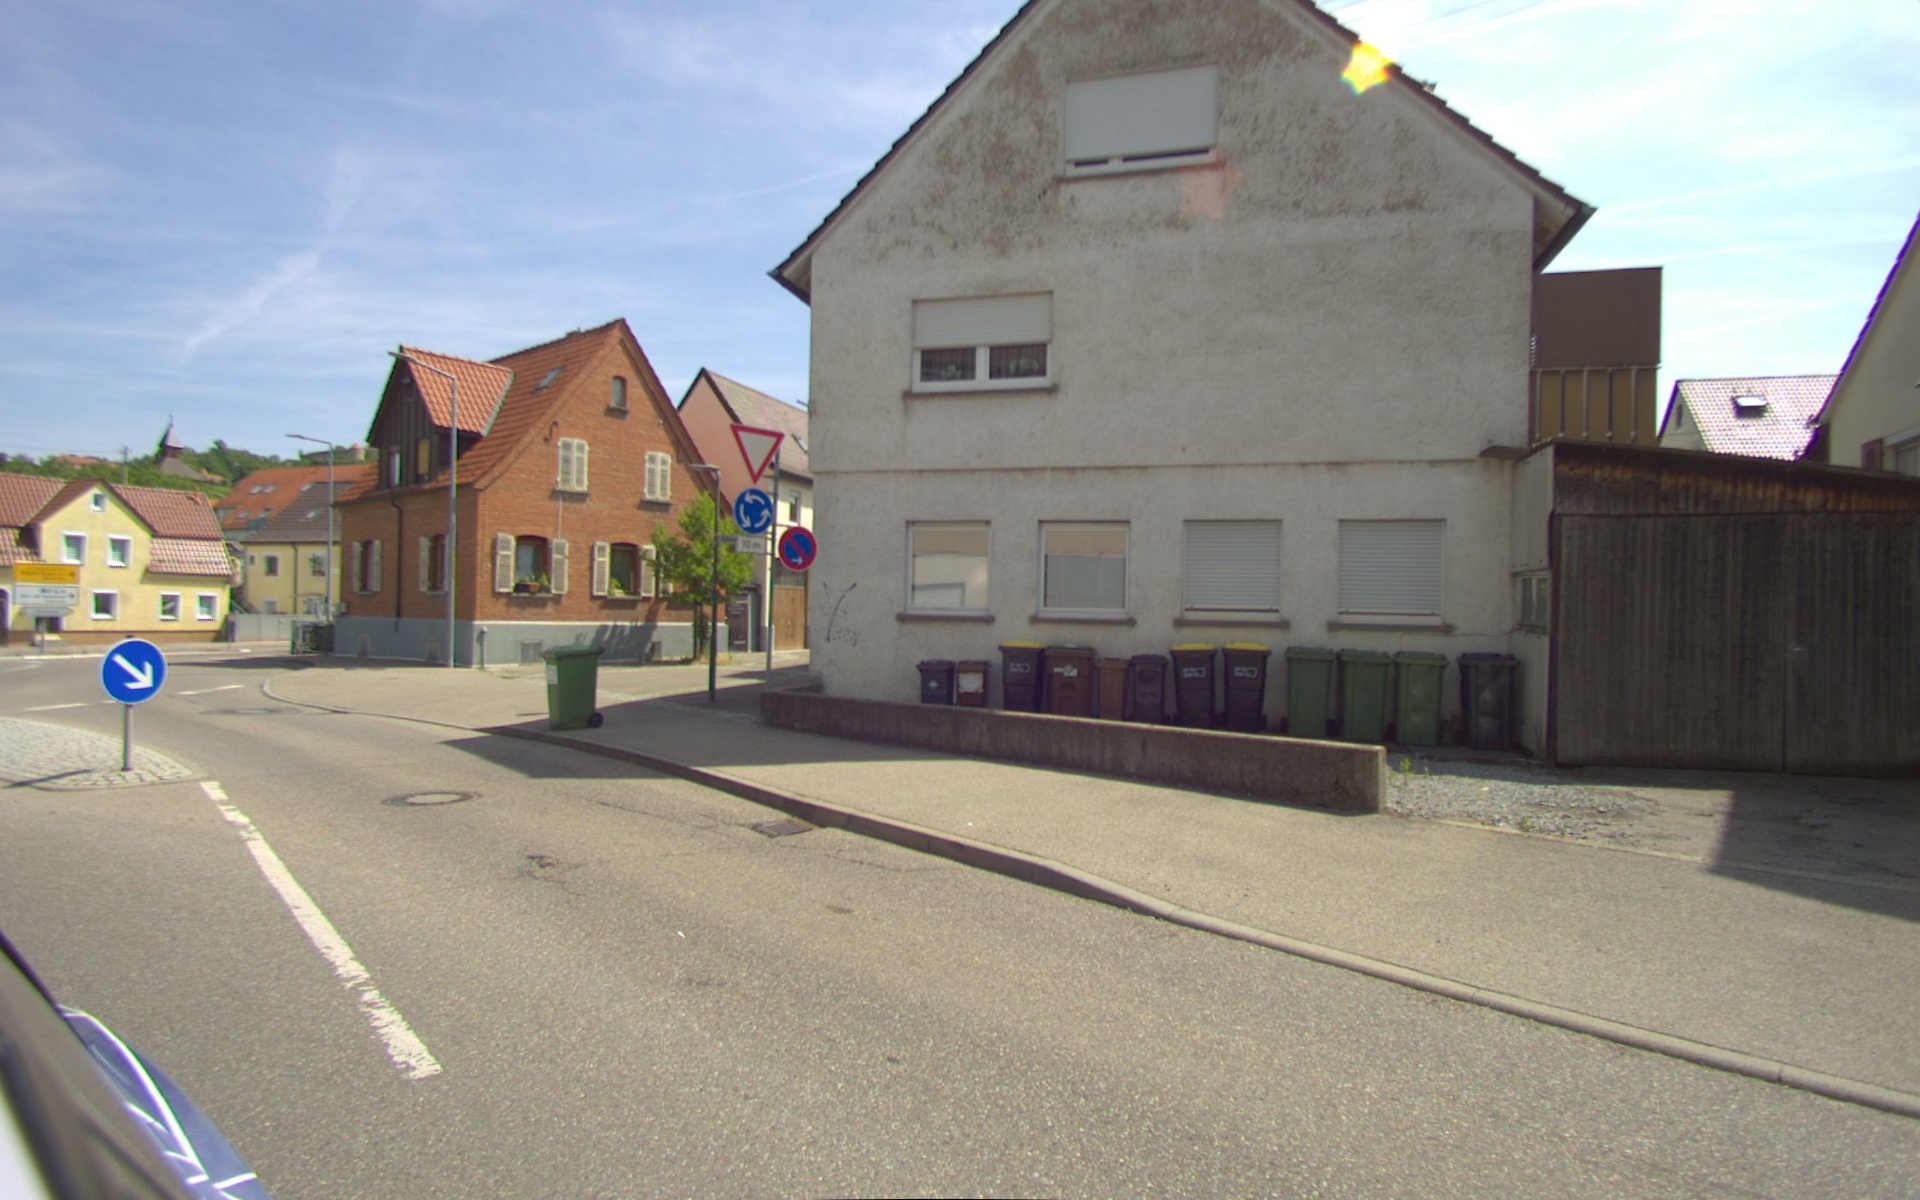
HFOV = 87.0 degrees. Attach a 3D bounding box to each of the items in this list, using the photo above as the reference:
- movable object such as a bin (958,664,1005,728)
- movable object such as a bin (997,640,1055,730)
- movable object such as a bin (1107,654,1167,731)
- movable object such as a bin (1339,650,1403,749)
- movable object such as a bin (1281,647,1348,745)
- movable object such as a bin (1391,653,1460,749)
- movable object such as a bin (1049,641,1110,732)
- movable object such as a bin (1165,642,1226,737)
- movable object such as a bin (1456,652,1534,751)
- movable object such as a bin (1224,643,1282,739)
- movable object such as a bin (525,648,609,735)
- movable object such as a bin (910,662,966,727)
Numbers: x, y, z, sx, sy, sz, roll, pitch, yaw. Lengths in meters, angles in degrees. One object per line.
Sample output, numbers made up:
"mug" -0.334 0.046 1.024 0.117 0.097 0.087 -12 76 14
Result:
"movable object such as a bin" 0.290 1.236 13.186 0.522 0.786 0.484 0 -1 14
"movable object such as a bin" 0.849 1.069 12.935 0.638 1.094 0.682 0 -1 14
"movable object such as a bin" 2.206 1.134 12.592 0.691 0.903 0.682 0 -1 14
"movable object such as a bin" 4.772 1.137 11.782 0.578 1.090 0.677 0 -1 14
"movable object such as a bin" 4.185 1.119 11.987 0.654 1.090 0.738 0 -1 14
"movable object such as a bin" 5.323 1.138 11.604 0.598 1.043 0.626 0 -1 14
"movable object such as a bin" 1.519 1.070 12.768 0.691 1.094 0.682 0 -1 14
"movable object such as a bin" 2.863 1.072 12.317 0.691 1.090 0.682 0 -1 14
"movable object such as a bin" 5.957 1.112 11.295 0.607 1.042 0.628 0 -1 14
"movable object such as a bin" 3.507 1.068 12.147 0.619 1.090 0.682 0 -1 14
"movable object such as a bin" -5.109 1.165 13.162 0.798 1.053 0.828 1 -1 -40
"movable object such as a bin" -0.286 1.241 13.365 0.641 0.811 0.484 0 -1 16
